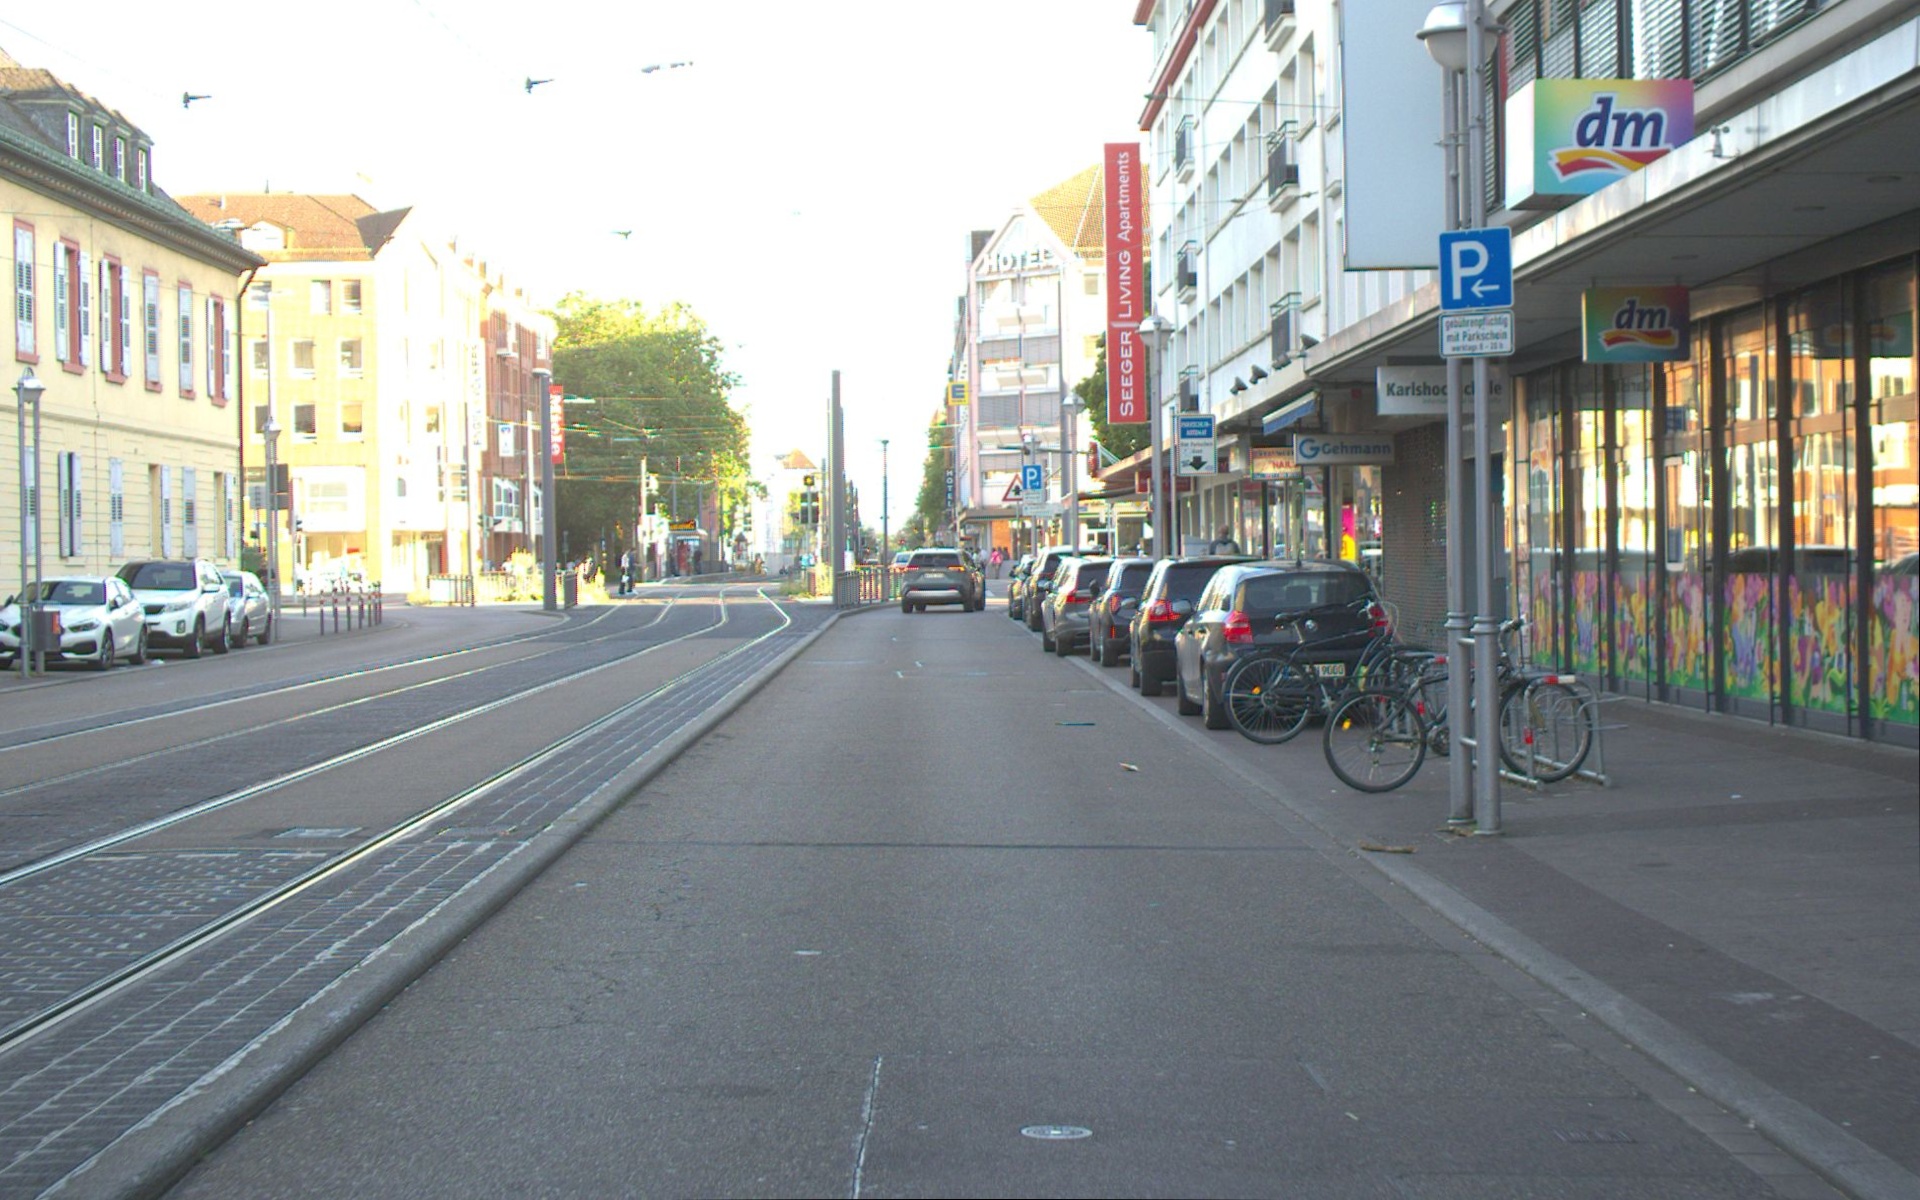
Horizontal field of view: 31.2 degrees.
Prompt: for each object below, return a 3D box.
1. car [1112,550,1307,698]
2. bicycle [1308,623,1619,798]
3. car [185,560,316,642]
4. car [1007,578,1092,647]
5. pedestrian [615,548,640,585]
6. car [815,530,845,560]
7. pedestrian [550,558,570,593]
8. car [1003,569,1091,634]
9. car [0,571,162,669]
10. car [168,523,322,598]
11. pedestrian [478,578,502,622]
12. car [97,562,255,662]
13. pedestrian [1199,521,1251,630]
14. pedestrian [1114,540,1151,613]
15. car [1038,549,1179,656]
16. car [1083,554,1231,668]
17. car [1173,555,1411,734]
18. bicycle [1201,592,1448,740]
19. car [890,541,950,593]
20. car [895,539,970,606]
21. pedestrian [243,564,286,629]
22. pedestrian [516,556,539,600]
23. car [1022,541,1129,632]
[{"bbox_3d":[2.677,0.242,37.692,1.765,1.508,4.072,1,0,-1],"label":"car"},{"bbox_3d":[3.130,0.683,21.441,1.794,0.969,0.576,-3,1,-3],"label":"bicycle"},{"bbox_3d":[-13.707,-0.008,66.615,1.748,1.469,4.000,1,1,-1],"label":"car"},{"bbox_3d":[1.904,0.244,73.929,1.651,1.416,4.191,1,0,-1],"label":"car"},{"bbox_3d":[-12.480,-1.247,128.996,0.903,1.370,0.854,-1,0,-3],"label":"pedestrian"},{"bbox_3d":[-9.073,-3.847,240.103,1.955,2.007,4.000,1,0,-1],"label":"car"},{"bbox_3d":[-23.325,-1.419,200.515,1.093,2.007,1.163,1,0,-3],"label":"pedestrian"},{"bbox_3d":[1.969,0.023,79.132,1.790,1.408,4.688,1,0,-1],"label":"car"},{"bbox_3d":[-14.017,0.283,54.689,1.721,1.448,4.284,1,1,-1],"label":"car"},{"bbox_3d":[-19.790,-1.094,95.125,3.986,2.007,2.001,-1,0,-17],"label":"car"},{"bbox_3d":[-14.706,-0.003,107.634,0.663,1.370,0.652,-1,1,-3],"label":"pedestrian"},{"bbox_3d":[-13.801,0.181,60.757,1.886,1.655,4.762,1,1,-3],"label":"car"},{"bbox_3d":[4.644,-0.433,60.291,0.774,1.874,0.935,-1,0,-2],"label":"pedestrian"},{"bbox_3d":[3.740,-0.510,74.587,0.733,1.568,0.967,-1,1,-1],"label":"pedestrian"},{"bbox_3d":[2.232,0.021,52.772,1.791,1.528,4.857,1,0,-2],"label":"car"},{"bbox_3d":[2.661,0.130,47.227,1.726,1.476,4.000,1,0,-1],"label":"car"},{"bbox_3d":[2.888,0.357,30.596,1.654,1.458,4.023,1,0,-1],"label":"car"},{"bbox_3d":[2.878,0.515,27.237,1.839,1.106,0.642,-1,0,-4],"label":"bicycle"},{"bbox_3d":[-1.413,-1.166,122.640,1.993,1.590,4.000,-5,-1,0],"label":"car"},{"bbox_3d":[-0.702,-0.704,90.304,1.835,1.631,4.090,-2,-1,0],"label":"car"},{"bbox_3d":[-16.777,-0.081,82.939,0.799,1.536,0.877,1,0,1],"label":"pedestrian"},{"bbox_3d":[-13.557,-0.687,107.803,0.663,1.370,0.652,0,1,-3],"label":"pedestrian"},{"bbox_3d":[2.241,-0.272,67.720,1.856,1.695,4.418,1,0,-1],"label":"car"}]
